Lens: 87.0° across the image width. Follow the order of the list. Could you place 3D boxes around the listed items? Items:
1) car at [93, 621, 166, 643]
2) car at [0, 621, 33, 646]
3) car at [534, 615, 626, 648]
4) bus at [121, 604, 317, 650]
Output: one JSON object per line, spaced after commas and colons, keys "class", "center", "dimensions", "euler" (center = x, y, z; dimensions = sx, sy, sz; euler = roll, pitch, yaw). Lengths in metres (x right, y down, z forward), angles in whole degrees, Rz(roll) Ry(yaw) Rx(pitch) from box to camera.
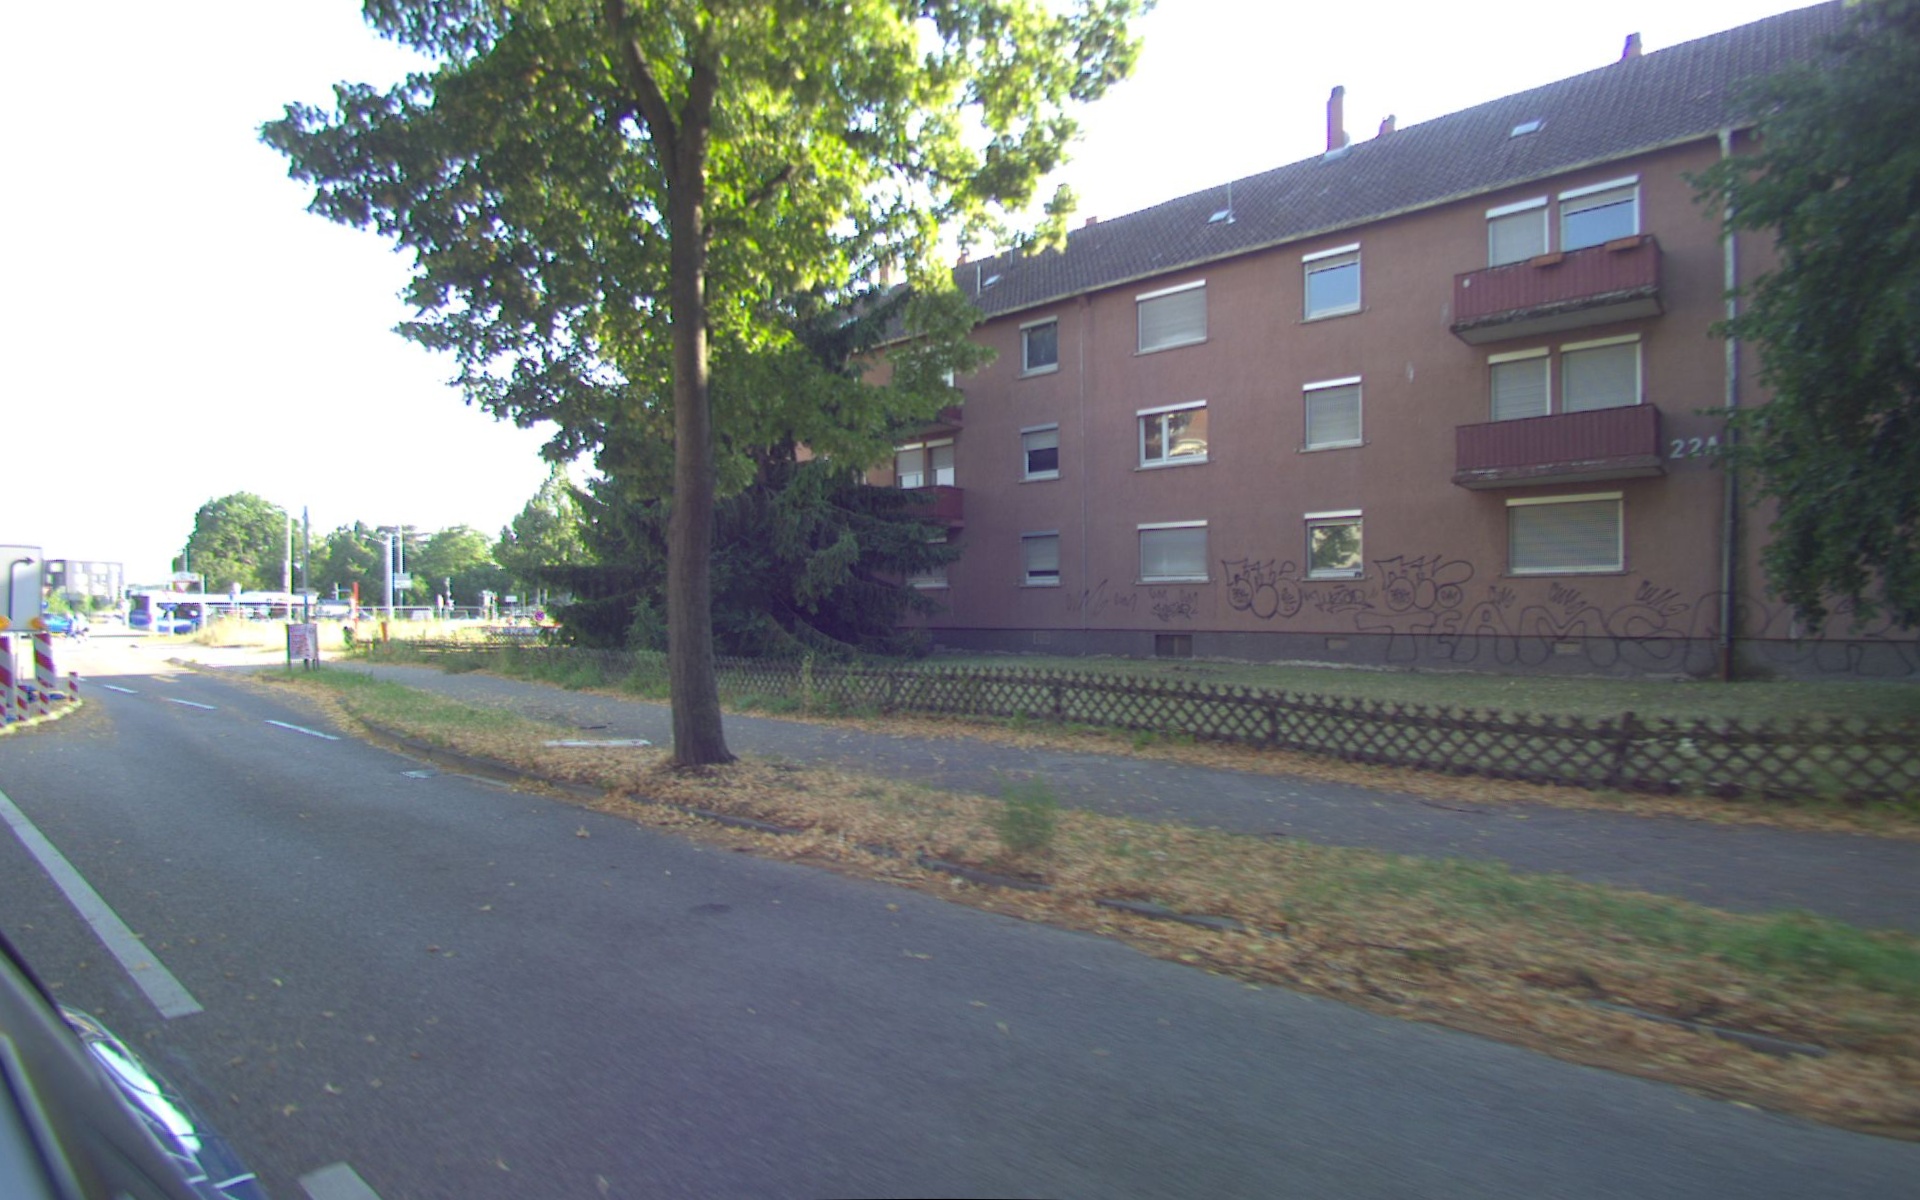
{"class": "car", "center": [-61.122, 2.338, 74.562], "dimensions": [1.759, 1.542, 3.985], "euler": [0, -2, 11]}
{"class": "car", "center": [-59.905, 2.082, 62.312], "dimensions": [1.841, 1.497, 3.949], "euler": [-2, -2, 38]}
{"class": "car", "center": [-23.970, 1.982, 64.066], "dimensions": [5.225, 2.029, 2.005], "euler": [0, -1, -12]}
{"class": "bus", "center": [-53.780, 1.885, 74.151], "dimensions": [2.647, 3.085, 12.093], "euler": [-1, -1, 21]}
